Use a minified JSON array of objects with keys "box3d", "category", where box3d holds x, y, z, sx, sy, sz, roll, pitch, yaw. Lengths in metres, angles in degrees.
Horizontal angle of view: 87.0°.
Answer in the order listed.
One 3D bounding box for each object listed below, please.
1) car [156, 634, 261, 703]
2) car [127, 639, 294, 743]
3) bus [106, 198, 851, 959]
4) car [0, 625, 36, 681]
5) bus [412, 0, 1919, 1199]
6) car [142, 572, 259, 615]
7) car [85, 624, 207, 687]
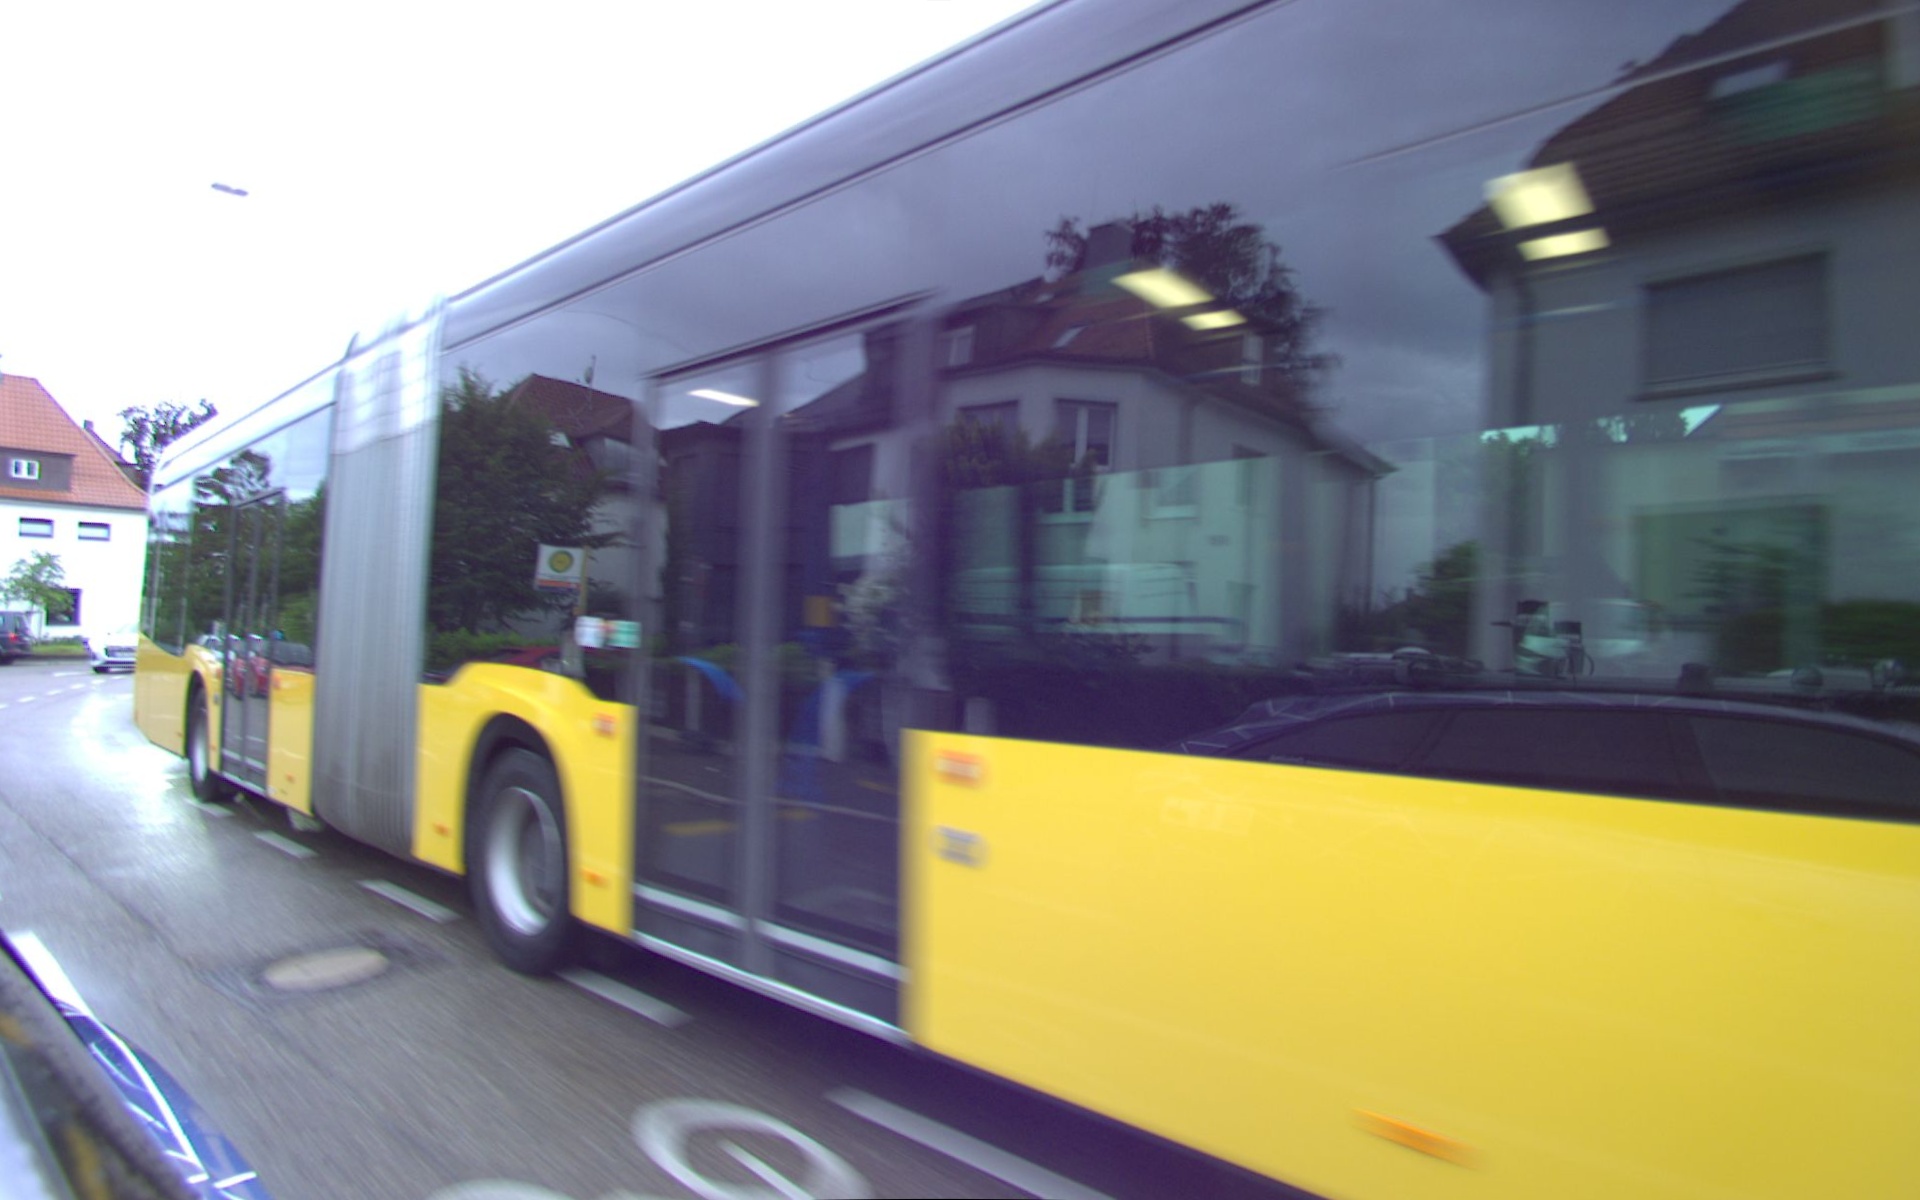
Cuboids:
[{"box3d":[-18.187,1.583,24.423,1.869,1.475,3.688,1,-2,-39],"category":"car"},{"box3d":[-12.639,1.442,17.016,1.968,1.491,4.494,3,-4,-38],"category":"car"},{"box3d":[-4.760,0.039,8.503,8.681,3.424,2.647,-2,-4,44],"category":"bus"},{"box3d":[-36.142,1.852,35.697,4.838,1.962,1.947,2,-2,-28],"category":"car"},{"box3d":[2.020,-0.206,2.465,9.036,3.424,2.869,-2,-4,41],"category":"bus"},{"box3d":[-40.428,-0.322,54.008,4.665,1.823,1.948,6,-4,-30],"category":"car"},{"box3d":[-23.774,1.563,29.712,1.765,1.712,3.903,0,-1,-23],"category":"car"}]
